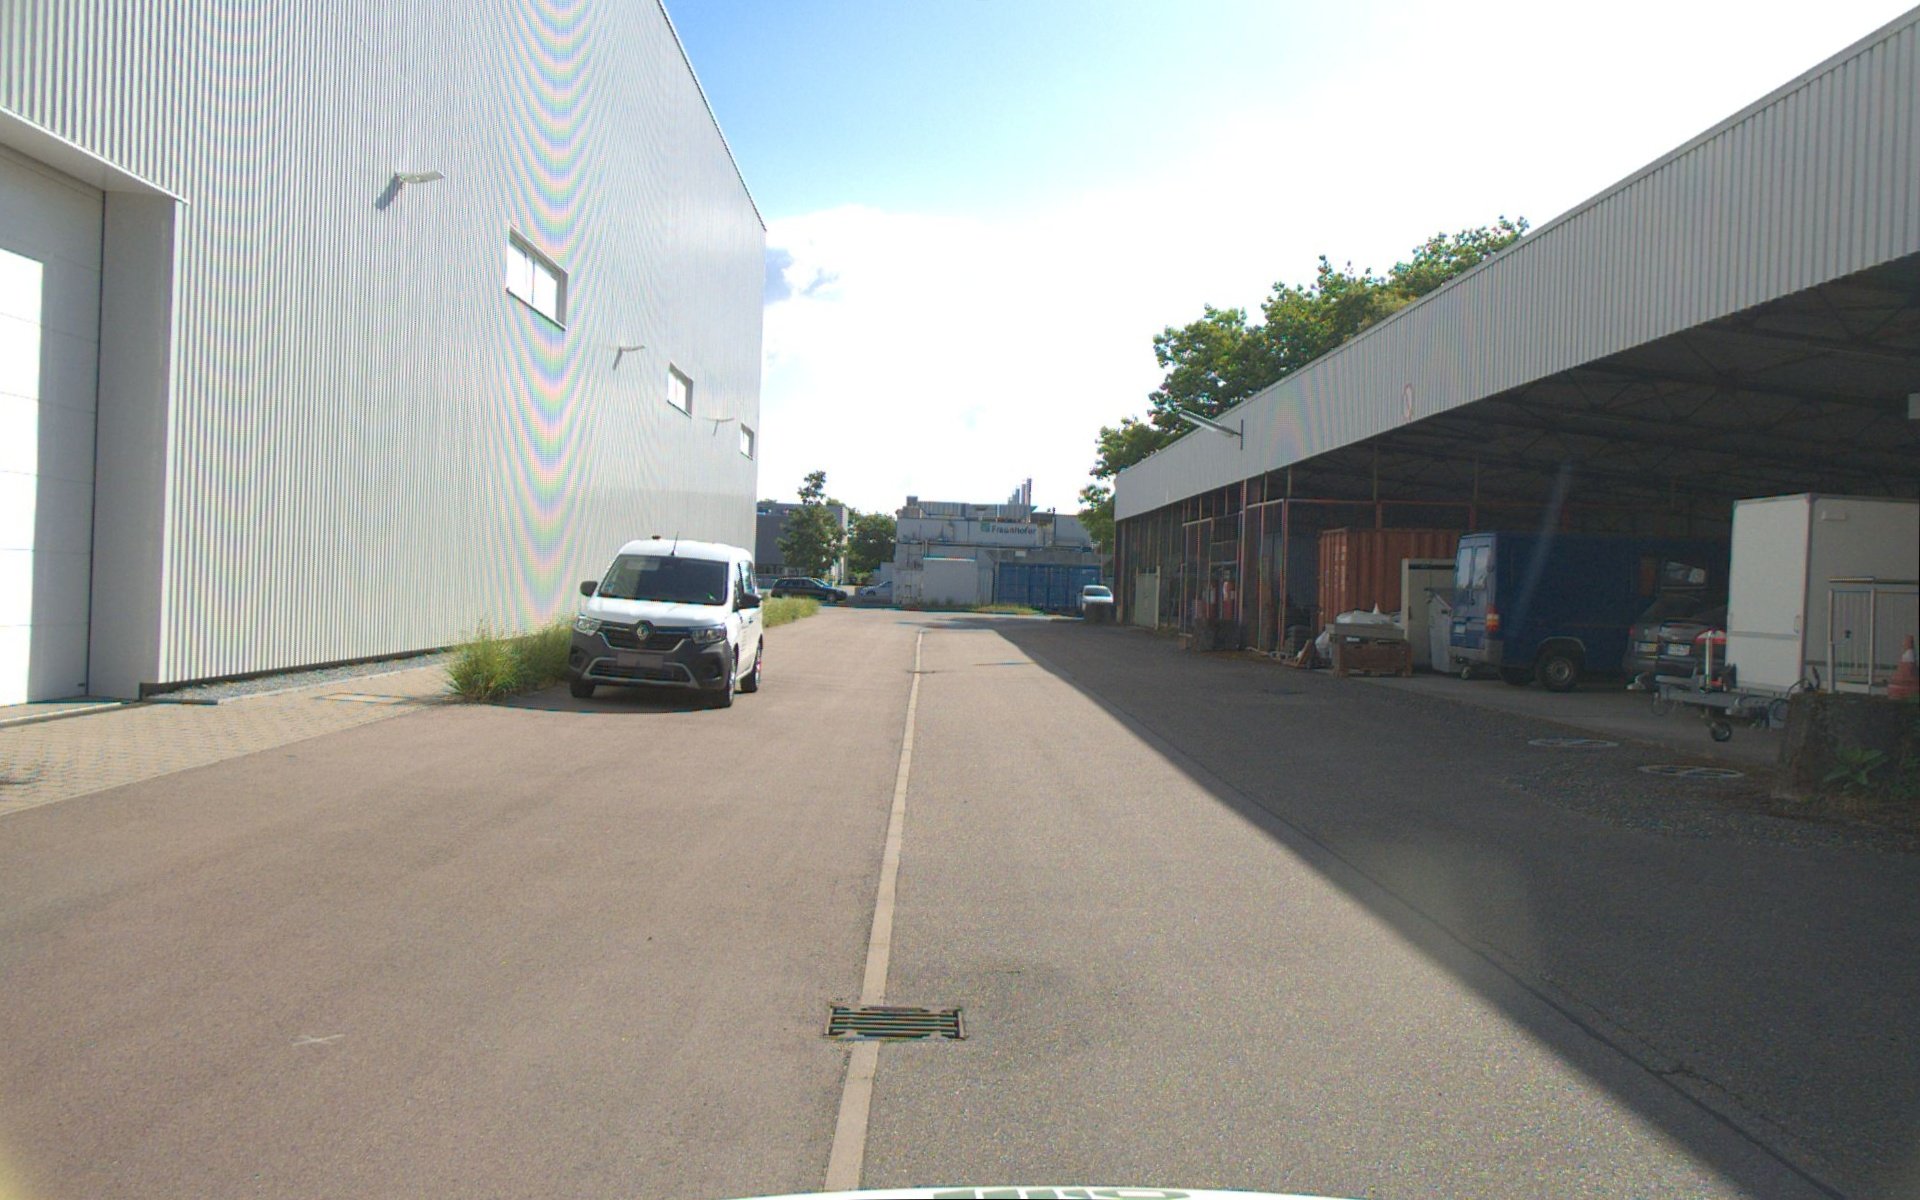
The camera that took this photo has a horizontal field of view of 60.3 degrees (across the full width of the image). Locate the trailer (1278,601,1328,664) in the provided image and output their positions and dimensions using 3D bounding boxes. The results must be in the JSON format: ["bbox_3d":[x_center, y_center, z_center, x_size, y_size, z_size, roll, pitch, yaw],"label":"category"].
[{"bbox_3d":[6.377,0.595,30.801,0.541,1.138,1.546,0,0,-3],"label":"trailer"}]

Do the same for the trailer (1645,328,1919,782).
[{"bbox_3d":[11.357,-0.321,13.902,10.059,3.401,2.801,0,0,-1],"label":"trailer"}]

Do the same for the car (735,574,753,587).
[{"bbox_3d":[-25.628,-2.290,196.387,1.821,1.521,4.027,0,0,-3],"label":"car"}]

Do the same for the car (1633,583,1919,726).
[{"bbox_3d":[10.169,0.603,18.931,4.164,1.497,1.868,1,1,-4],"label":"car"}]

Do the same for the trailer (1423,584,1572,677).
[{"bbox_3d":[8.979,0.484,27.755,1.996,1.492,1.739,0,0,3],"label":"trailer"}]

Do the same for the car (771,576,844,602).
[{"bbox_3d":[-9.326,-0.681,101.445,4.358,1.557,1.823,1,0,-2],"label":"car"}]

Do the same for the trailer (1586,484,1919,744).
[{"bbox_3d":[8.780,0.136,16.338,4.424,2.383,2.047,0,0,0],"label":"trailer"}]

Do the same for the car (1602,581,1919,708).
[{"bbox_3d":[10.861,0.576,22.034,3.886,1.540,1.838,1,0,-4],"label":"car"}]

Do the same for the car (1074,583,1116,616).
[{"bbox_3d":[7.255,-0.049,89.397,1.939,1.630,4.378,1,2,0],"label":"car"}]

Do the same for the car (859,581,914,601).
[{"bbox_3d":[-5.758,-0.703,129.431,4.216,1.483,1.823,1,0,-2],"label":"car"}]

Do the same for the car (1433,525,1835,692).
[{"bbox_3d":[10.139,0.129,25.168,5.225,2.321,2.152,1,0,-2],"label":"car"}]

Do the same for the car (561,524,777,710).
[{"bbox_3d":[-3.303,0.178,19.634,1.747,1.847,4.600,3,0,-1],"label":"car"}]
